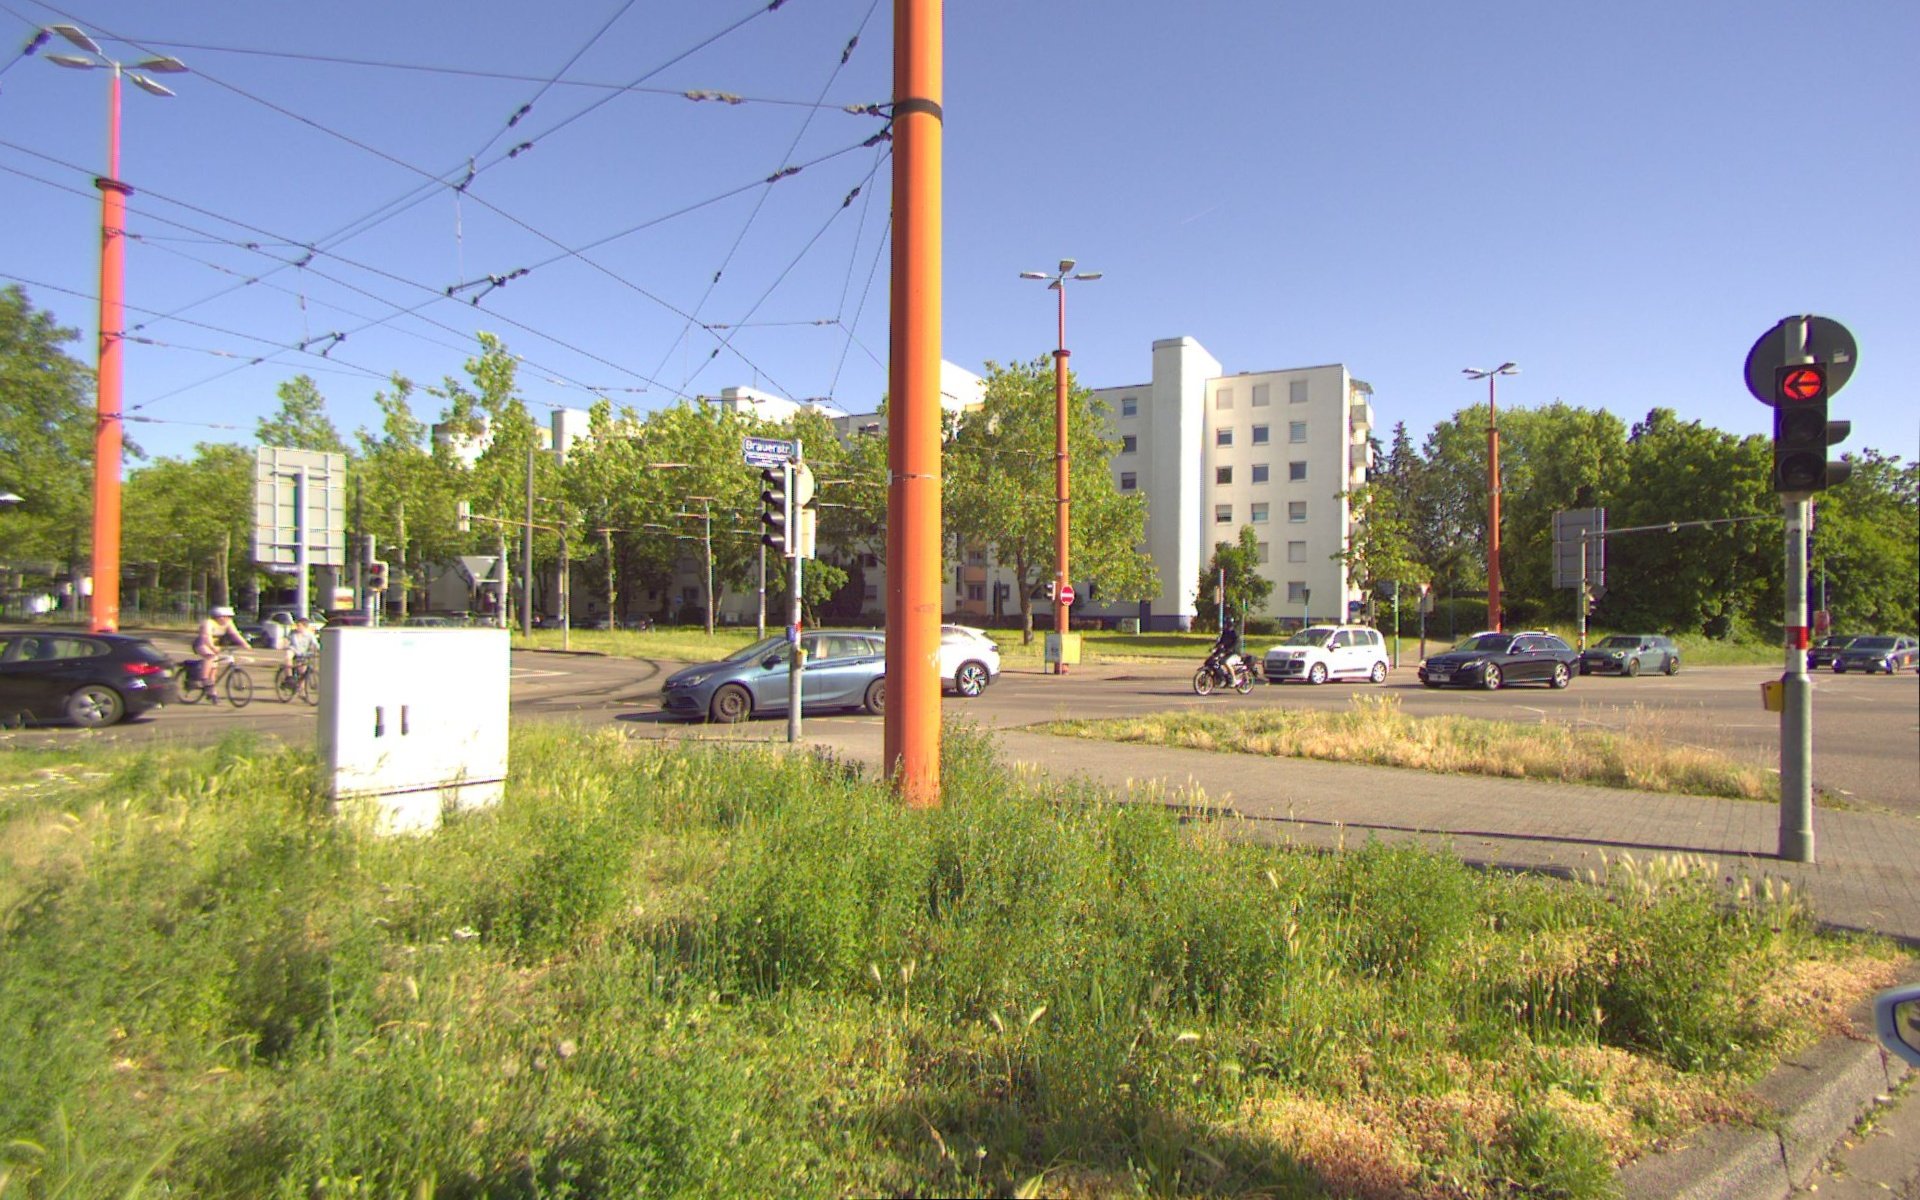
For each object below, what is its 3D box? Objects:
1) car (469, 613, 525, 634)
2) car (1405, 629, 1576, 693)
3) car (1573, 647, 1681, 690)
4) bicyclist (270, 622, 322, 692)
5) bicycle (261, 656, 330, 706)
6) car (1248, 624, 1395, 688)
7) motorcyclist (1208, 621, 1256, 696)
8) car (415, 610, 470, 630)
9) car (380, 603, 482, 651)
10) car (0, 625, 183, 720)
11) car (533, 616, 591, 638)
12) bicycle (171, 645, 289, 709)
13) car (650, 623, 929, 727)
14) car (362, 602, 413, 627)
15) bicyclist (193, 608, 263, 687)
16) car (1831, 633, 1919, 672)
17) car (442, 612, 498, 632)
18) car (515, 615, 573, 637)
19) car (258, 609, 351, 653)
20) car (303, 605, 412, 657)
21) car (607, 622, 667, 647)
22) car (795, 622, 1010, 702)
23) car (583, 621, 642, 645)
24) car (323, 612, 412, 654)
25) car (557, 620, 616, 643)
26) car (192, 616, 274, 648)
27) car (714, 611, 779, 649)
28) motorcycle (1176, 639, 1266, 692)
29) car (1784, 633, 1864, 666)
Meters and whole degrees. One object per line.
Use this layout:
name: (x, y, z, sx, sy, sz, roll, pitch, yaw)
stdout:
car: (-38.553, 1.929, 83.771, 3.934, 1.617, 1.890, 2, 0, -15)
car: (14.033, 1.571, 26.497, 4.551, 1.505, 1.867, 2, -1, -30)
car: (23.734, 2.418, 35.705, 4.088, 1.406, 1.424, 2, 0, -28)
bicyclist: (-13.183, 1.122, 19.946, 0.687, 1.340, 0.548, 1, 0, 25)
bicycle: (-13.188, 1.592, 19.924, 1.595, 0.894, 0.368, 1, 0, 26)
car: (10.395, 1.586, 28.852, 4.010, 1.730, 1.793, 2, -2, -29)
motorcyclist: (6.048, 1.290, 22.387, 0.631, 1.621, 0.833, 2, 0, -21)
car: (-45.122, 1.778, 87.628, 3.934, 1.617, 1.890, 2, 0, -15)
car: (-22.943, 1.137, 43.530, 4.200, 1.926, 1.996, 1, 0, 31)
car: (-14.362, 1.053, 15.079, 3.983, 1.359, 1.853, 2, -2, -30)
car: (-30.769, 2.094, 77.766, 3.934, 1.617, 1.890, 2, 0, -15)
bicycle: (-13.839, 1.440, 19.027, 2.313, 1.095, 0.474, 1, 0, 17)
car: (-2.942, 1.239, 17.450, 4.406, 1.615, 1.986, 2, -2, -27)
car: (-47.300, 1.197, 82.987, 4.334, 2.040, 1.994, 0, -1, 35)
bicyclist: (-13.901, 0.886, 19.076, 0.742, 1.449, 0.752, 1, 0, 18)
car: (35.118, 1.970, 38.311, 4.211, 1.395, 1.541, 1, -1, -30)
car: (-41.752, 1.856, 85.653, 3.934, 1.617, 1.890, 2, 0, -15)
car: (-32.849, 2.050, 79.410, 3.934, 1.617, 1.890, 2, 0, -15)
car: (-28.969, 1.326, 44.354, 3.929, 1.773, 1.909, 1, 0, 31)
car: (-24.280, 1.221, 40.445, 4.200, 1.926, 1.996, 1, 0, 31)
car: (-23.175, 2.473, 72.239, 3.934, 1.617, 1.890, 2, 0, -15)
car: (-1.254, 1.345, 22.275, 4.381, 1.622, 1.832, 2, -2, -27)
car: (-25.664, 2.420, 74.218, 3.934, 1.617, 1.890, 2, 0, -15)
car: (-27.684, 1.507, 46.908, 3.929, 1.773, 1.909, 1, 0, 31)
car: (-28.128, 2.364, 75.679, 3.934, 1.617, 1.890, 2, 0, -15)
car: (-34.489, 1.482, 47.627, 3.930, 1.339, 1.732, 1, 0, 31)
car: (-13.834, 1.917, 65.038, 3.934, 2.341, 1.890, 2, 0, -15)
motorcycle: (5.827, 1.456, 22.383, 2.065, 1.146, 0.420, 2, 0, -22)
car: (39.771, 2.275, 46.231, 3.838, 1.452, 1.538, 2, -3, -29)
